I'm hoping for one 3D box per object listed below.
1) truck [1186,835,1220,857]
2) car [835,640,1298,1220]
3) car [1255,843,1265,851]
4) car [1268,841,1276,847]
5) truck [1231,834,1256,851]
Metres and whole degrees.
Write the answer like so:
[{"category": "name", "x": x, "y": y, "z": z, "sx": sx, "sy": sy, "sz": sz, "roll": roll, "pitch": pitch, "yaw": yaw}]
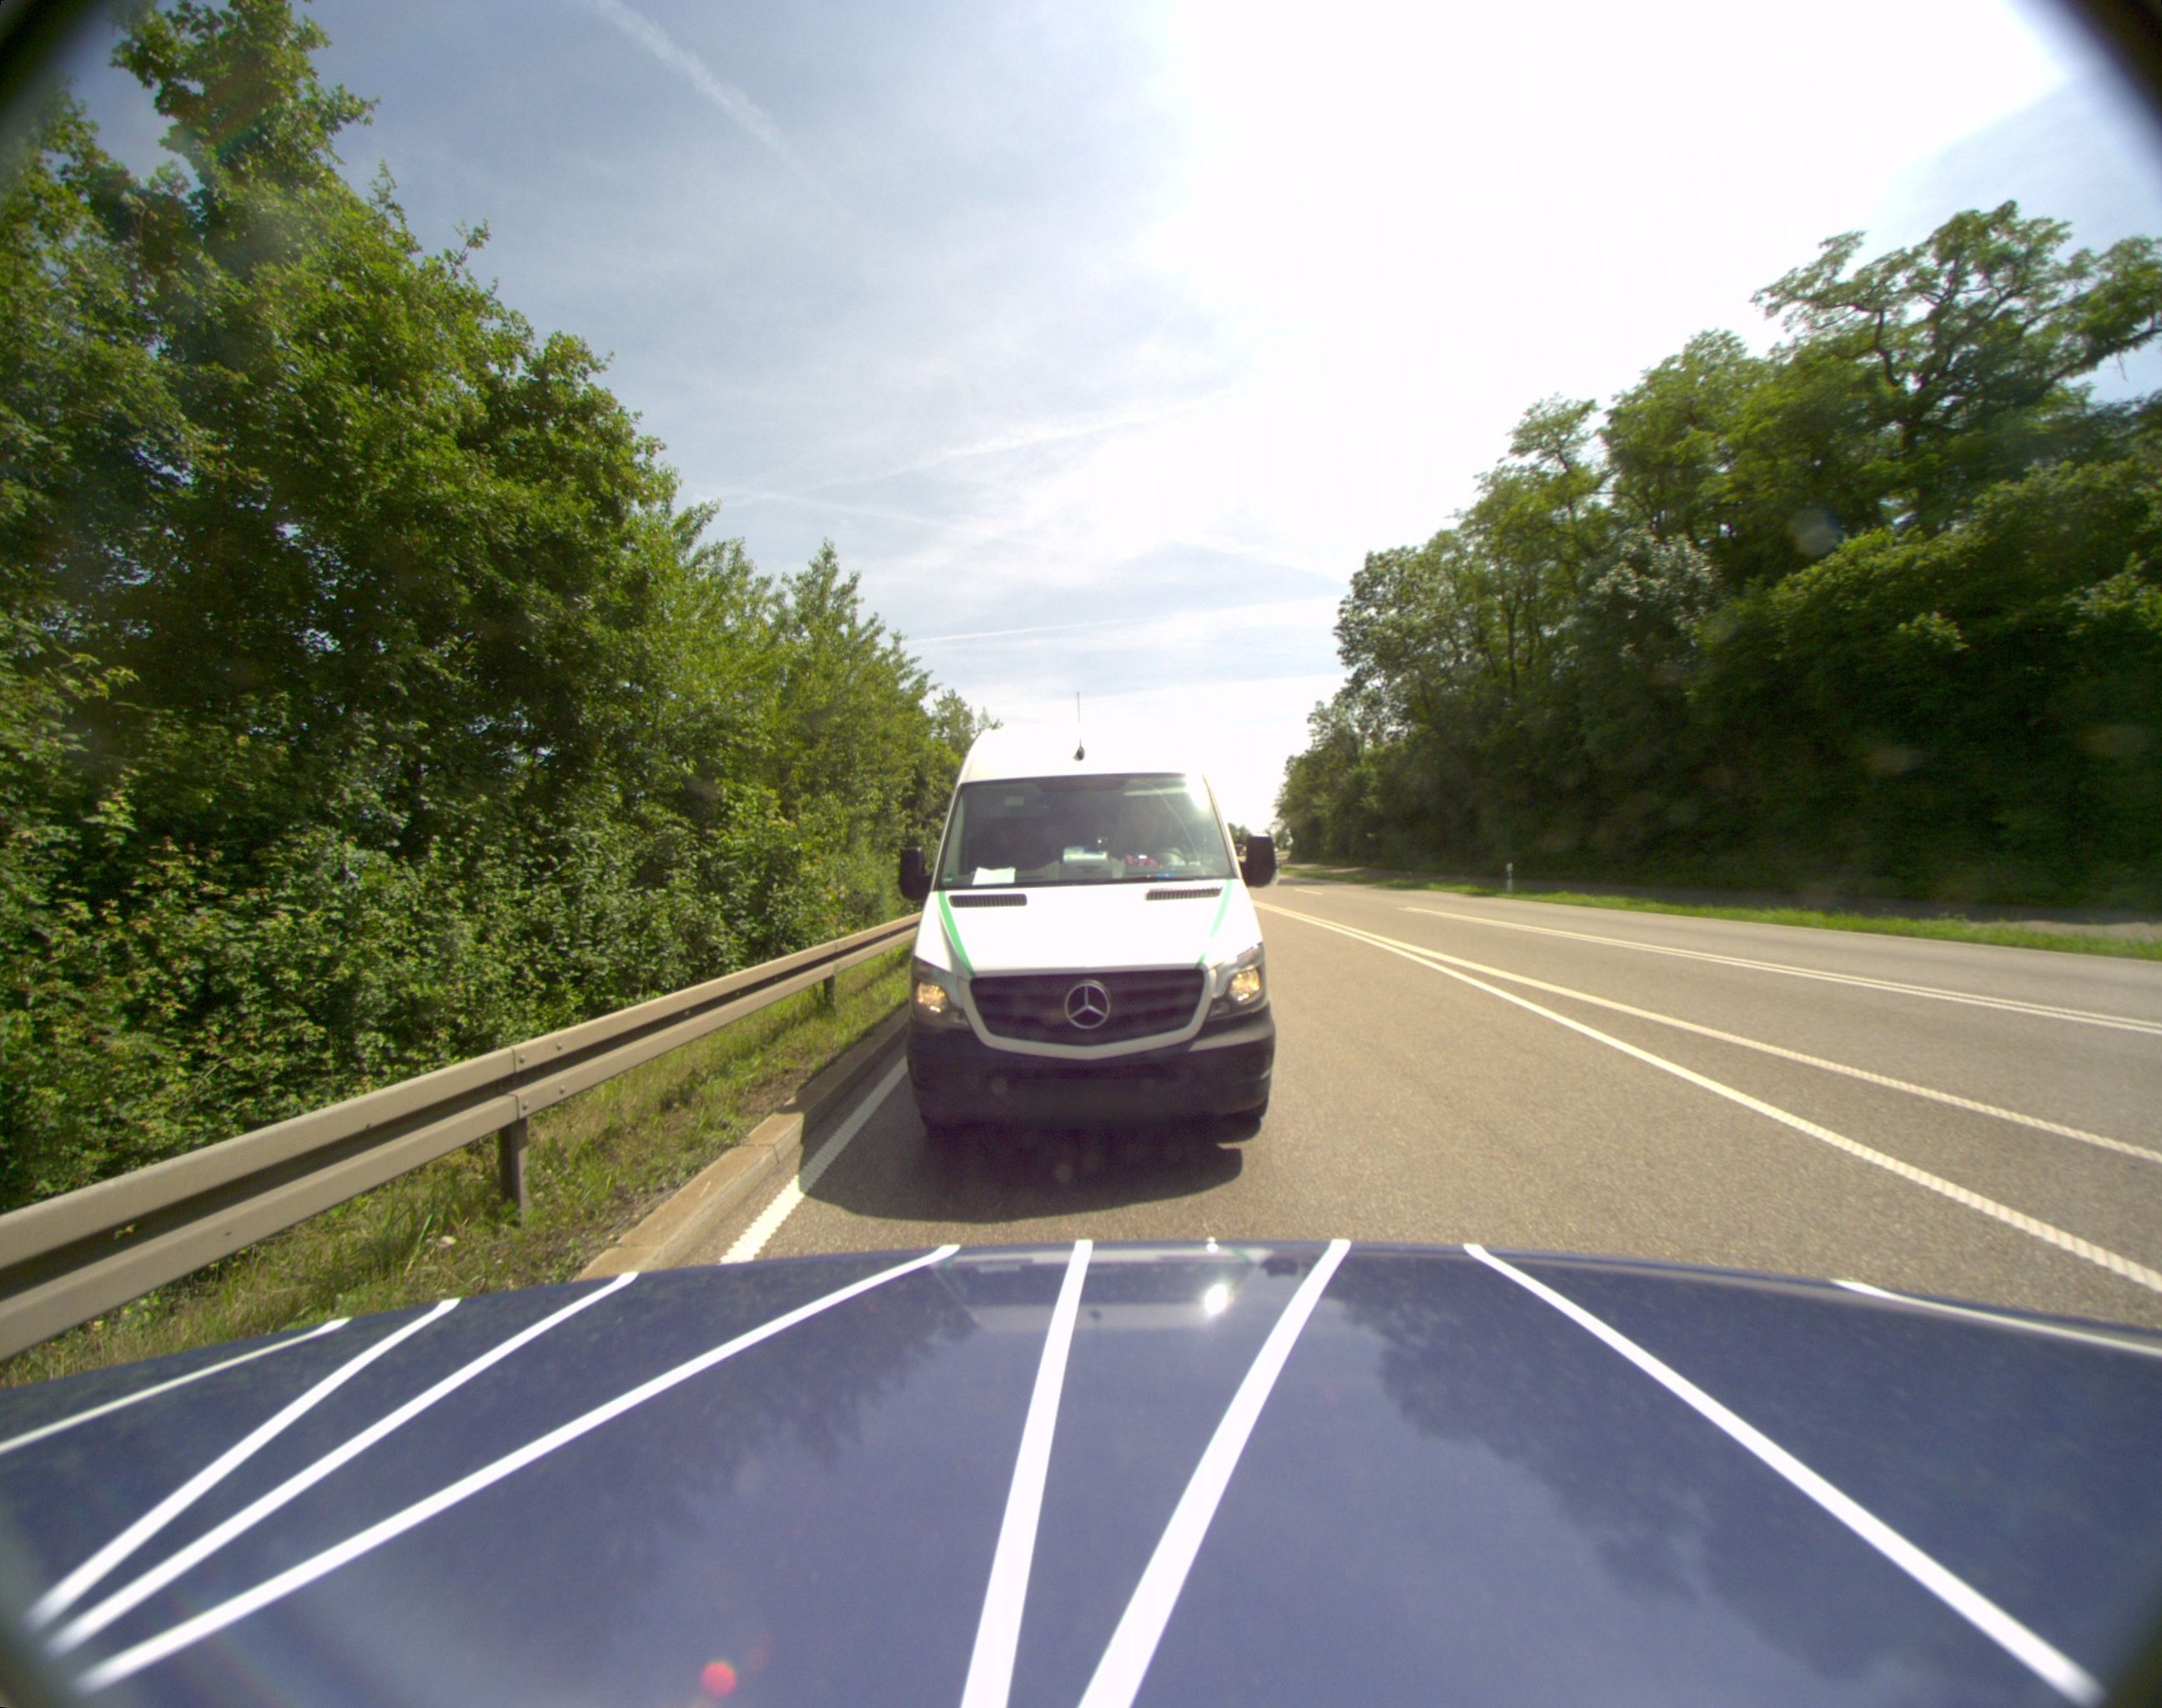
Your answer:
[{"category": "truck", "x": 27.246, "y": -1.736, "z": 168.805, "sx": 4.392, "sy": 4.433, "sz": 14.732, "roll": -2, "pitch": 0, "yaw": 21}, {"category": "car", "x": 0.017, "y": 0.350, "z": 5.987, "sx": 1.958, "sy": 2.502, "sz": 5.267, "roll": -2, "pitch": 0, "yaw": 2}, {"category": "car", "x": 54.649, "y": -2.145, "z": 231.923, "sx": 1.915, "sy": 2.002, "sz": 4.182, "roll": -2, "pitch": 1, "yaw": 24}, {"category": "car", "x": 62.241, "y": -3.203, "z": 247.596, "sx": 1.853, "sy": 2.002, "sz": 3.894, "roll": -2, "pitch": 1, "yaw": 26}, {"category": "truck", "x": 45.204, "y": -3.158, "z": 211.179, "sx": 3.980, "sy": 4.434, "sz": 14.362, "roll": -2, "pitch": 0, "yaw": 23}]
